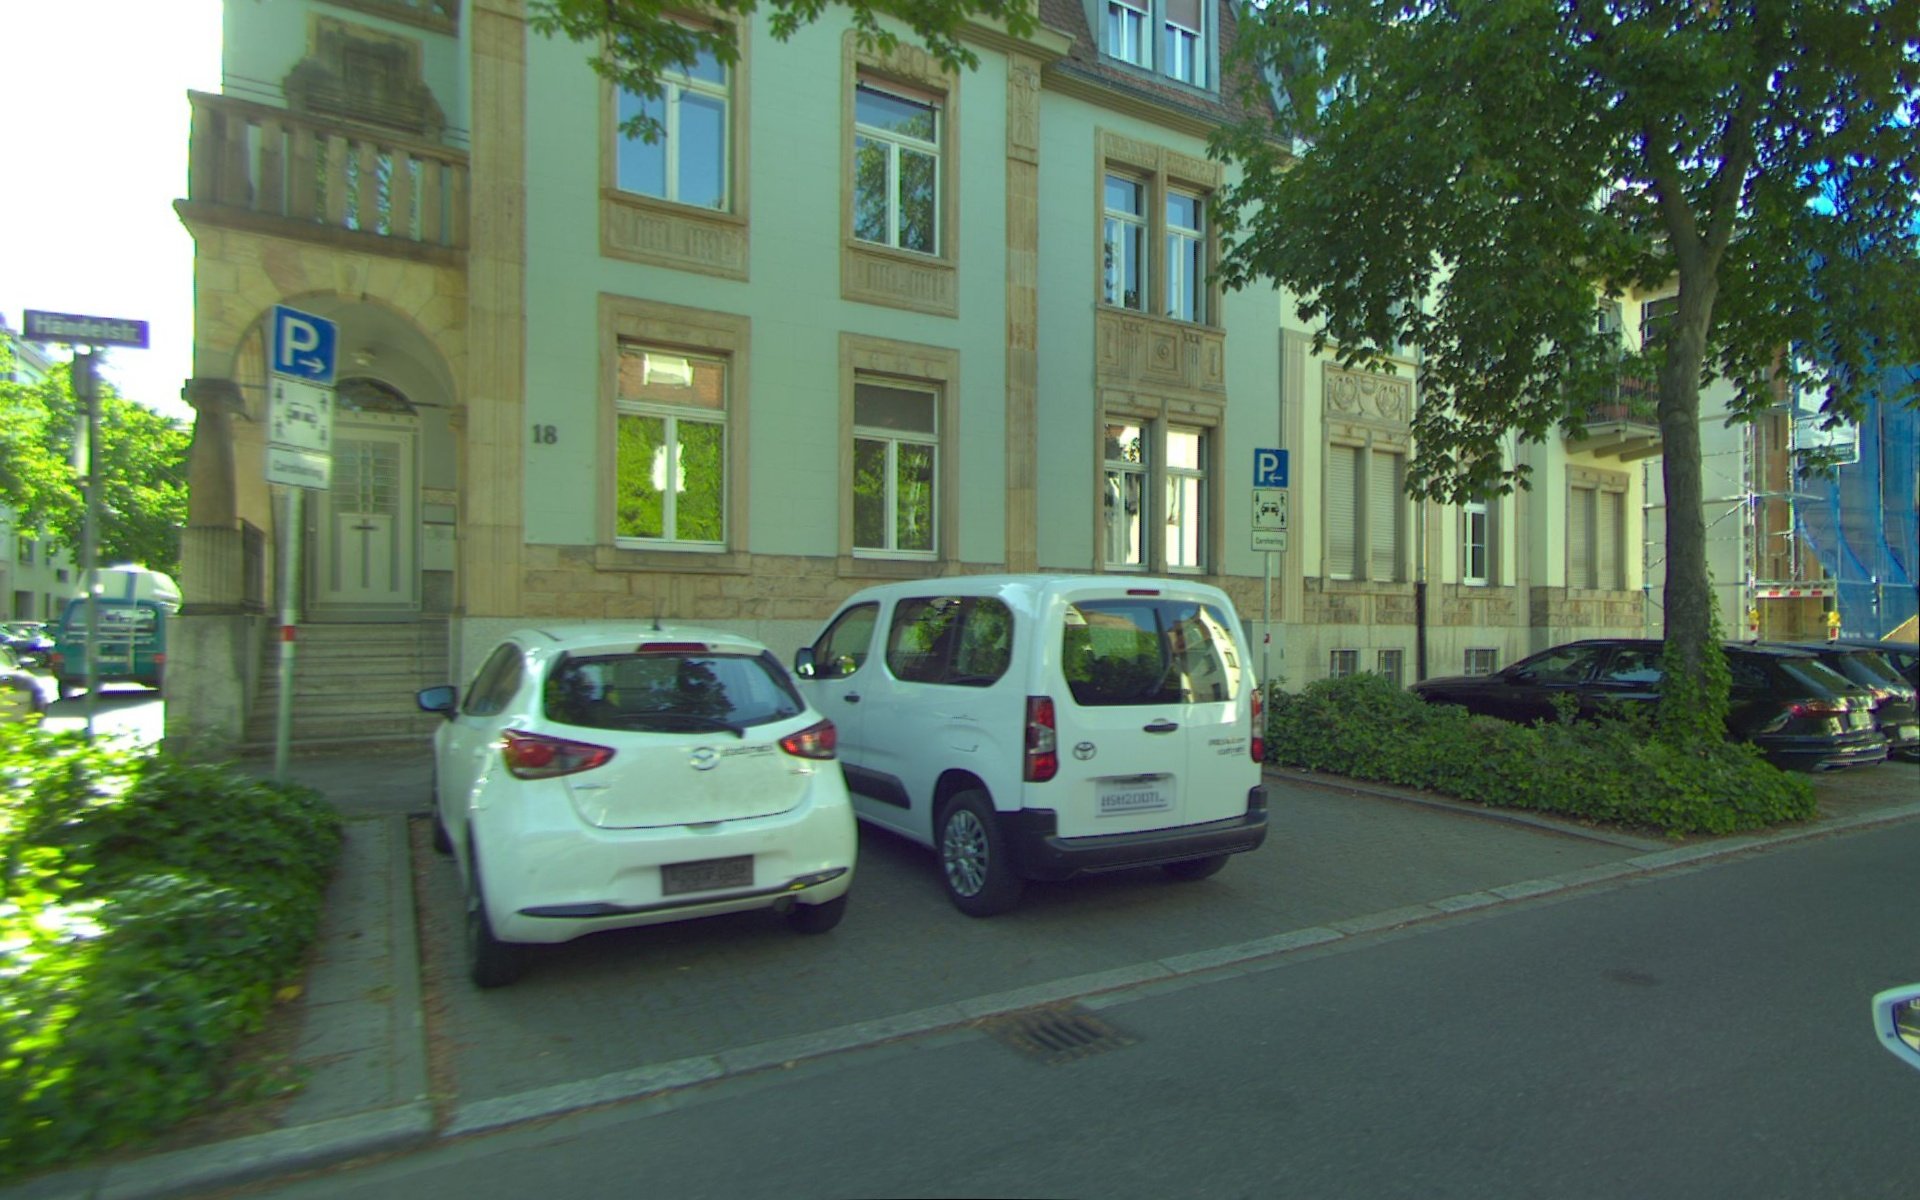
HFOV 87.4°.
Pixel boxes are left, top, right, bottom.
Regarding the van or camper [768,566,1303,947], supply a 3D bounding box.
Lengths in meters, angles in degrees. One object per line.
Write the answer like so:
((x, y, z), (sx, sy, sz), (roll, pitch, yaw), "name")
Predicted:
((0.182, 0.776, 6.908), (1.788, 1.797, 3.925), (0, -1, -30), "van or camper")

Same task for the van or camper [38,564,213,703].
((-17.077, 0.720, 20.806), (1.888, 2.557, 4.237), (3, -3, -29), "van or camper")

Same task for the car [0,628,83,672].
((-31.752, 1.612, 32.770), (4.364, 1.427, 1.857), (2, -3, -29), "car")

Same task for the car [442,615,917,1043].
((-1.854, 0.872, 5.663), (1.702, 1.536, 3.707), (1, -2, -30), "car")

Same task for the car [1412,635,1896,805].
((7.346, 1.141, 11.116), (1.689, 1.419, 4.121), (1, -1, -29), "car")

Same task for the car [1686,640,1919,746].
((13.571, 1.366, 15.425), (1.674, 1.467, 3.536), (1, -3, -28), "car")

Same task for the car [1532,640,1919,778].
((9.490, 1.245, 12.599), (1.626, 1.449, 3.732), (1, -3, -29), "car")

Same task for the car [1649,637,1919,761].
((11.784, 1.264, 13.567), (1.693, 1.484, 3.712), (0, -3, -28), "car")

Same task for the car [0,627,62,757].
((-11.901, 1.026, 11.228), (1.872, 1.483, 3.877), (3, -3, -29), "car")
